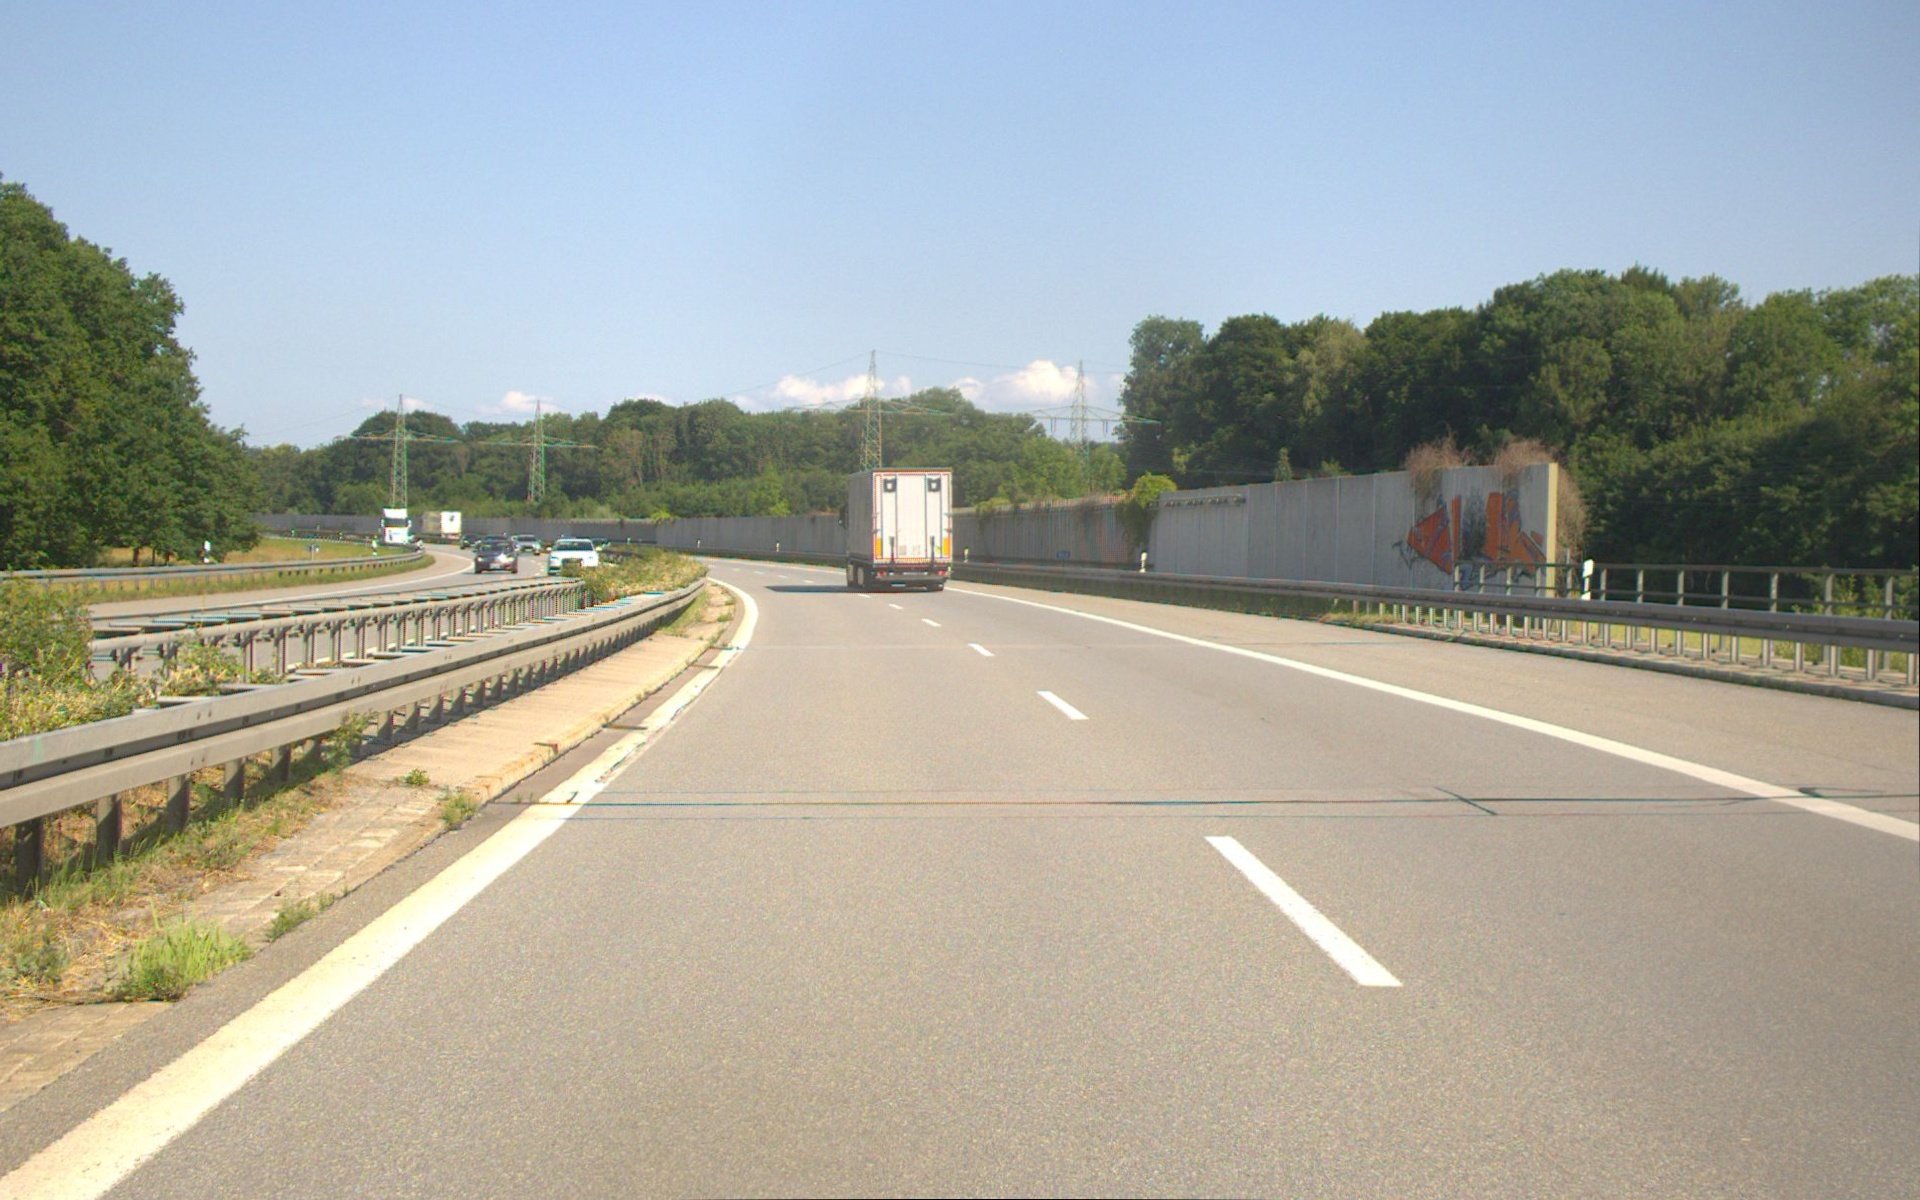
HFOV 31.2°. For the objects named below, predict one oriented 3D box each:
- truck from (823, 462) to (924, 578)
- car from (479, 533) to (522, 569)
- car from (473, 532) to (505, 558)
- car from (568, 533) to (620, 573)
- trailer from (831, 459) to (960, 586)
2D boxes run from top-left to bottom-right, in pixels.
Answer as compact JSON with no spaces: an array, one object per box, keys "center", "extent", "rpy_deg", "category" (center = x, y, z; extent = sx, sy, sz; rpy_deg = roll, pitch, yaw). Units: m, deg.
[{"center":[-3.121,-2.823,122.264],"extent":[2.830,3.998,6.589],"rpy_deg":[0,1,-8],"category":"truck"},{"center":[-19.608,-2.096,146.764],"extent":[1.772,1.465,4.508],"rpy_deg":[1,1,-8],"category":"car"},{"center":[-29.337,-3.430,214.087],"extent":[1.853,1.628,4.495],"rpy_deg":[-1,1,-9],"category":"car"},{"center":[-13.744,-1.784,129.267],"extent":[1.820,1.429,4.651],"rpy_deg":[1,1,-4],"category":"car"},{"center":[-2.293,-2.600,115.949],"extent":[2.883,4.052,12.423],"rpy_deg":[0,1,-8],"category":"trailer"}]
